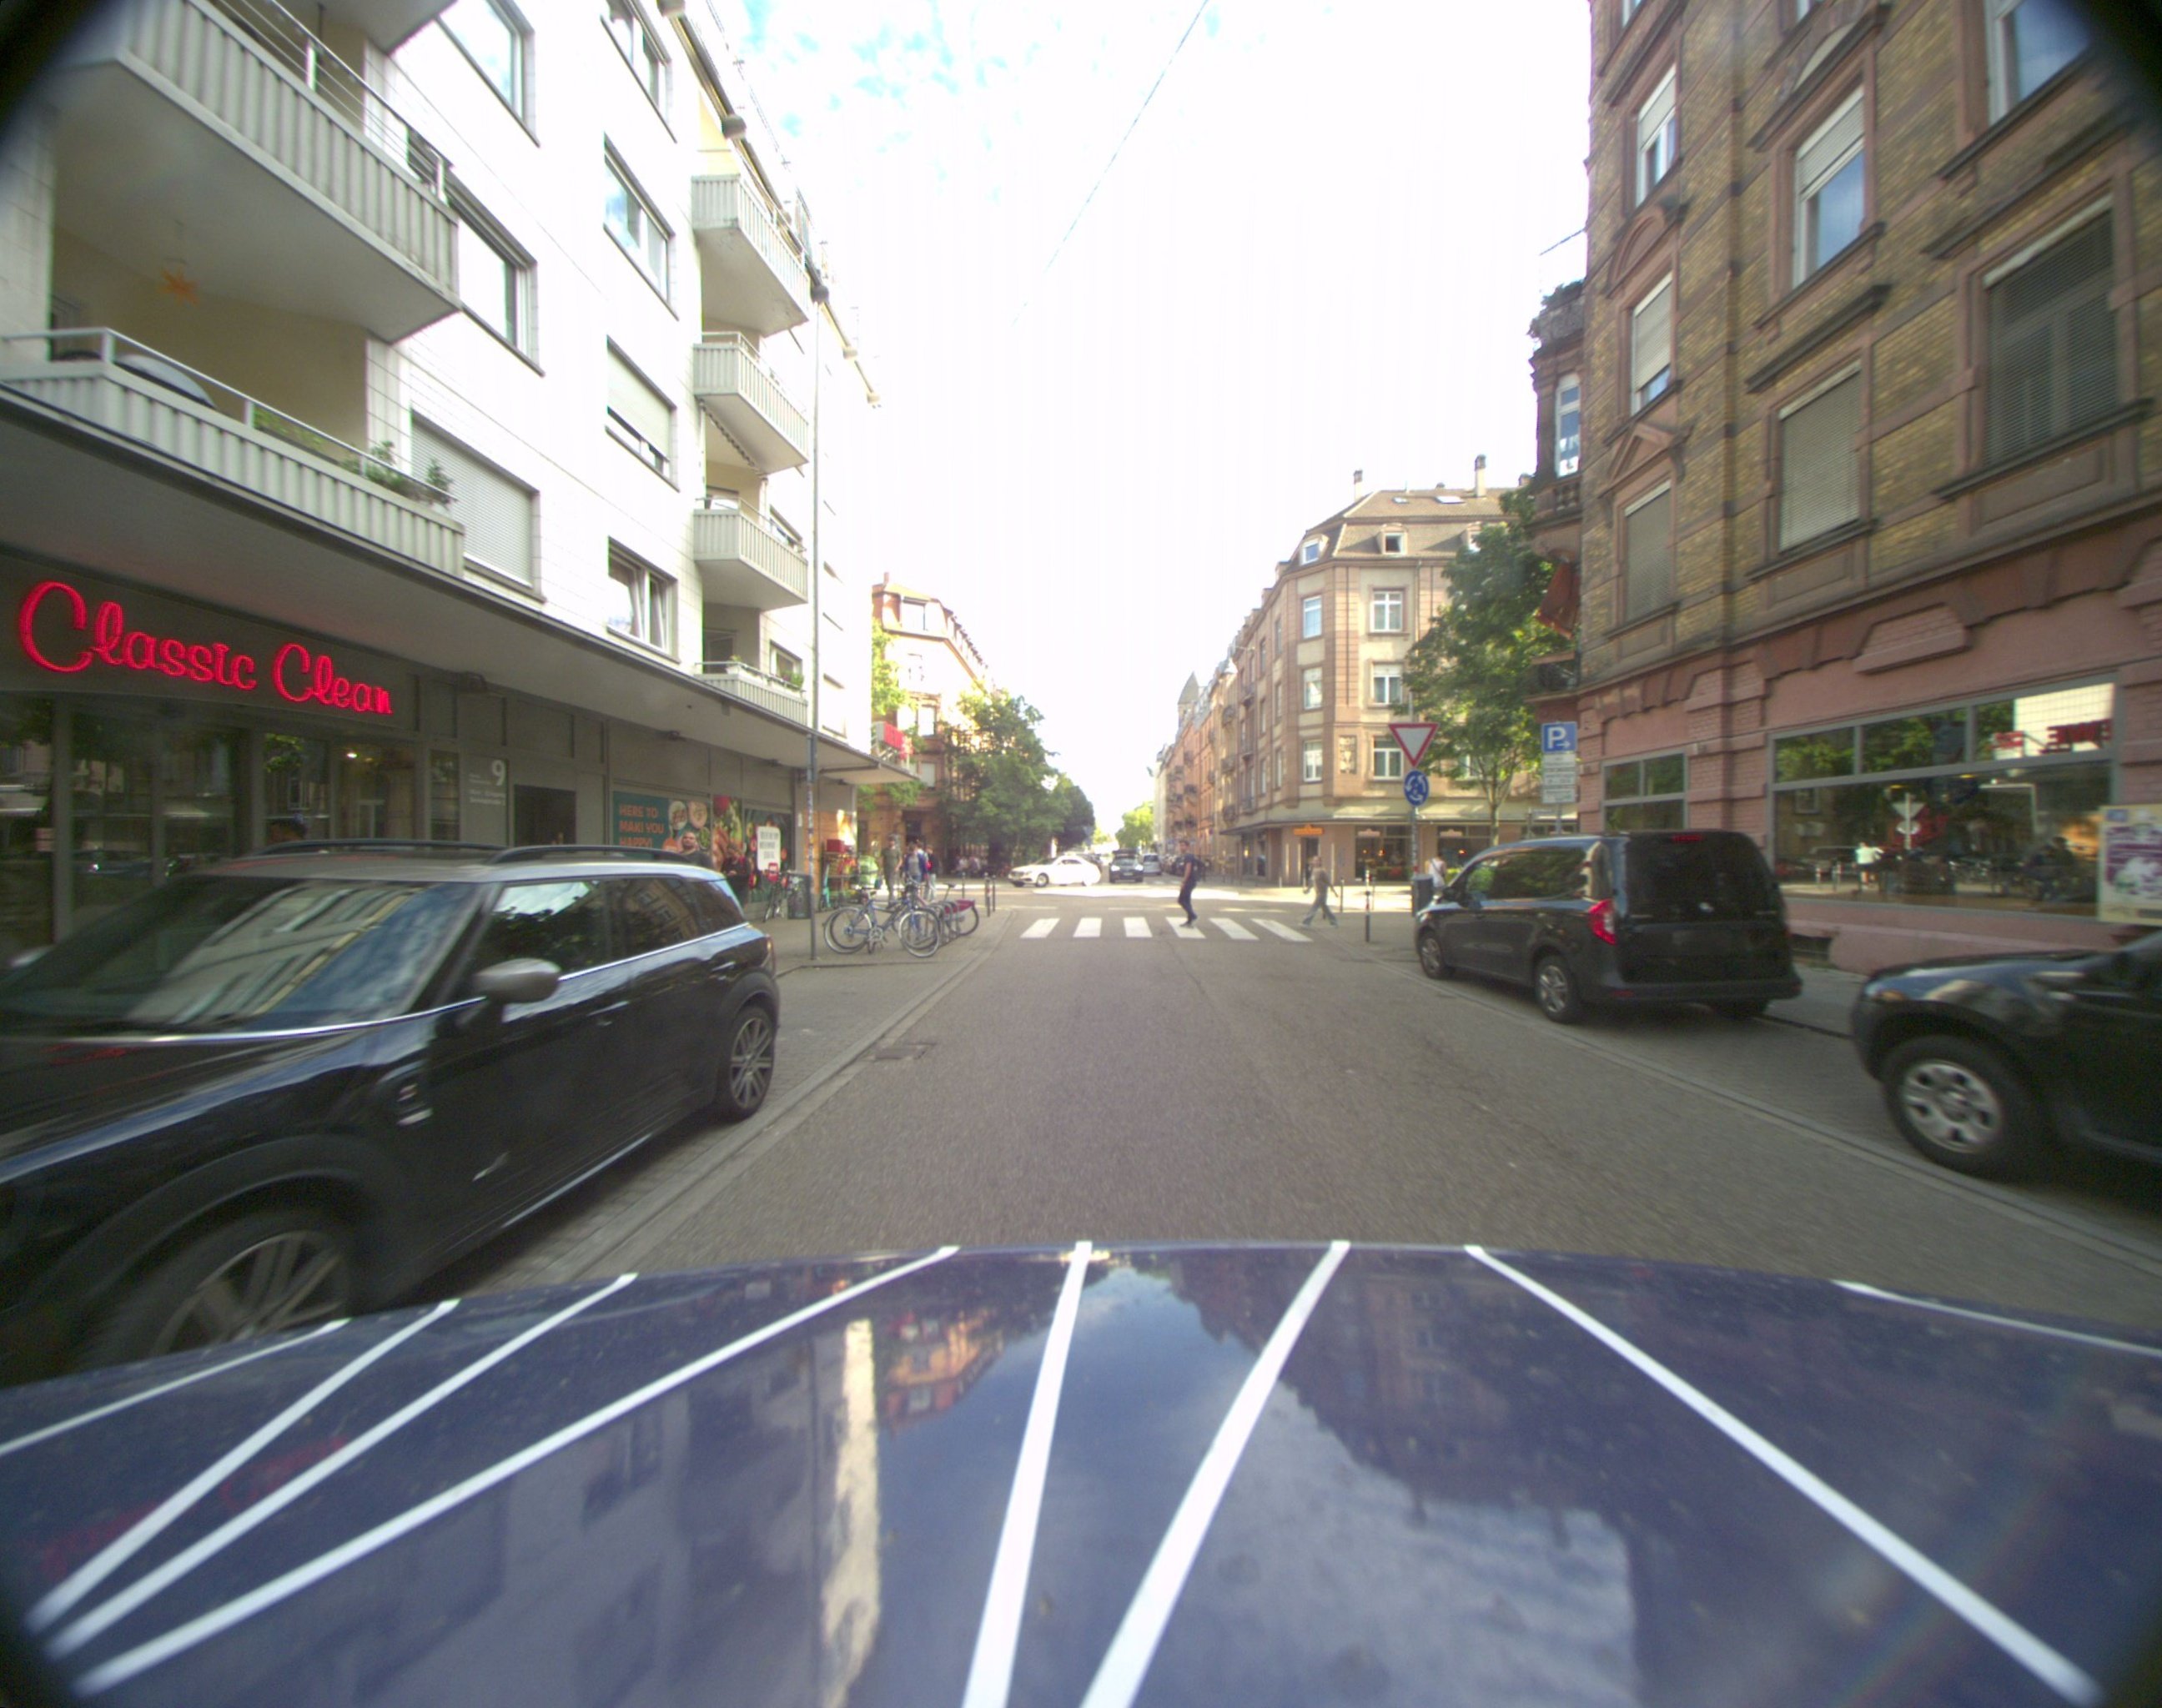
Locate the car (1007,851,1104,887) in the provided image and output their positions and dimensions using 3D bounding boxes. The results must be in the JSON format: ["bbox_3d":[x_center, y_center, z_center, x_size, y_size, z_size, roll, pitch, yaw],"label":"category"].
[{"bbox_3d":[-1.133,0.680,36.458,1.939,1.588,4.847,0,0,39],"label":"car"}]

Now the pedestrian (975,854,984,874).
[{"bbox_3d":[-6.696,0.673,50.176,0.467,1.320,0.620,0,1,-22],"label":"pedestrian"}]

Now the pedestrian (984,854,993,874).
[{"bbox_3d":[-6.068,0.660,49.836,0.467,1.320,0.620,0,1,-22],"label":"pedestrian"}]

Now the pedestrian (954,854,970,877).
[{"bbox_3d":[-7.352,0.712,46.872,0.715,1.371,0.671,1,2,37],"label":"pedestrian"}]

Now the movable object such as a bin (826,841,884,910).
[{"bbox_3d":[-6.076,0.544,20.590,0.781,1.734,2.423,0,0,2],"label":"movable object such as a bin"}]

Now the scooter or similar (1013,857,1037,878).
[{"bbox_3d":[-3.319,0.794,45.317,1.289,1.203,0.557,-1,-3,26],"label":"scooter or similar"}]

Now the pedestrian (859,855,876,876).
[{"bbox_3d":[-13.586,0.712,48.347,0.628,1.278,0.770,0,2,25],"label":"pedestrian"}]

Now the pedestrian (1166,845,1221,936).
[{"bbox_3d":[2.311,0.737,15.684,0.858,1.830,0.677,1,1,-22],"label":"pedestrian"}]

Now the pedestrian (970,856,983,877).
[{"bbox_3d":[-6.446,0.779,46.891,0.729,1.307,0.520,-1,0,-10],"label":"pedestrian"}]

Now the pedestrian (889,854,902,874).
[{"bbox_3d":[-11.699,0.639,47.878,0.510,1.218,0.643,3,3,35],"label":"pedestrian"}]

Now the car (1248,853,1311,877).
[{"bbox_3d":[14.586,0.804,55.993,3.999,1.611,1.999,-1,0,-6],"label":"car"}]

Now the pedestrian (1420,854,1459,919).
[{"bbox_3d":[9.600,0.850,20.341,0.802,1.661,1.024,1,2,32],"label":"pedestrian"}]

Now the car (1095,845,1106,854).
[{"bbox_3d":[4.101,-0.967,160.008,1.998,1.877,4.001,-1,0,4],"label":"car"}]

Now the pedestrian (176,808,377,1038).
[{"bbox_3d":[-6.552,0.534,6.239,0.715,1.736,0.817,3,0,0],"label":"pedestrian"}]

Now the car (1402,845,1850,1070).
[{"bbox_3d":[5.259,0.840,8.240,1.764,1.763,4.406,-1,0,2],"label":"car"}]

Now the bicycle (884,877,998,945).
[{"bbox_3d":[-2.553,1.031,14.041,1.887,1.119,0.907,3,0,0],"label":"bicycle"}]

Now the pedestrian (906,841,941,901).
[{"bbox_3d":[-4.828,0.511,23.241,0.712,1.786,0.634,3,-1,35],"label":"pedestrian"}]

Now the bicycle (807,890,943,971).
[{"bbox_3d":[-2.936,1.095,10.975,1.794,1.064,0.586,2,0,-8],"label":"bicycle"}]

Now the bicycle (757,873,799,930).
[{"bbox_3d":[-6.297,0.955,15.856,0.679,1.037,1.731,0,1,-17],"label":"bicycle"}]

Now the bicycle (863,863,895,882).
[{"bbox_3d":[-10.936,0.993,41.177,0.447,0.981,1.716,2,3,40],"label":"bicycle"}]

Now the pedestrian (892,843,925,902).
[{"bbox_3d":[-5.396,0.587,23.777,0.654,1.786,0.660,3,0,15],"label":"pedestrian"}]

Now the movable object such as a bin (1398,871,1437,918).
[{"bbox_3d":[5.320,0.630,12.027,0.384,0.710,0.476,-1,0,-2],"label":"movable object such as a bin"}]

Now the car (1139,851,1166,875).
[{"bbox_3d":[5.839,0.761,62.142,1.833,1.780,4.332,-2,-1,1],"label":"car"}]

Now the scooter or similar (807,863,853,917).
[{"bbox_3d":[-5.890,0.825,17.894,0.633,1.206,1.256,2,0,0],"label":"scooter or similar"}]

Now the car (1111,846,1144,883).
[{"bbox_3d":[2.783,0.590,44.509,1.792,2.051,4.001,0,0,5],"label":"car"}]

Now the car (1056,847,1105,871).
[{"bbox_3d":[0.007,0.536,79.761,4.746,2.408,1.995,-1,0,-30],"label":"car"}]

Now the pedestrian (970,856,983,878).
[{"bbox_3d":[-6.402,0.775,46.375,0.729,1.307,0.520,-1,0,-10],"label":"pedestrian"}]

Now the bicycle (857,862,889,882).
[{"bbox_3d":[-11.322,0.986,41.390,0.447,0.981,1.716,2,3,40],"label":"bicycle"}]

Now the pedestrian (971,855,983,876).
[{"bbox_3d":[-6.505,0.728,47.532,0.729,1.307,0.607,-1,0,-10],"label":"pedestrian"}]

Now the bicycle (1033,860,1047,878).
[{"bbox_3d":[-2.632,0.941,48.383,0.434,1.094,1.672,2,0,-18],"label":"bicycle"}]

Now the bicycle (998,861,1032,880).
[{"bbox_3d":[-3.764,0.930,43.446,1.855,1.029,0.684,1,1,2],"label":"bicycle"}]

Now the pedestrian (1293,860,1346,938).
[{"bbox_3d":[5.026,0.938,16.054,0.810,1.569,0.614,-3,0,-11],"label":"pedestrian"}]

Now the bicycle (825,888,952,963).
[{"bbox_3d":[-2.920,1.087,11.657,1.794,1.064,0.568,2,0,-8],"label":"bicycle"}]

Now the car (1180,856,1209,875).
[{"bbox_3d":[8.449,0.851,56.751,1.723,1.360,3.830,-1,0,3],"label":"car"}]

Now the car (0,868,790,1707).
[{"bbox_3d":[-2.852,0.891,2.954,1.796,1.596,3.925,1,0,2],"label":"car"}]

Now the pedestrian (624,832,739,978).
[{"bbox_3d":[-5.116,0.626,9.799,0.851,1.736,1.049,3,0,0],"label":"pedestrian"}]

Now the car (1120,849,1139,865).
[{"bbox_3d":[5.134,0.289,80.129,1.998,1.624,4.845,0,0,4],"label":"car"}]

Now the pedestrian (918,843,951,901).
[{"bbox_3d":[-4.596,0.557,23.823,0.716,1.786,0.630,4,-1,-33],"label":"pedestrian"}]

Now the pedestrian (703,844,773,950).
[{"bbox_3d":[-5.490,0.677,12.189,0.724,1.623,0.712,3,0,0],"label":"pedestrian"}]

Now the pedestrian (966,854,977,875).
[{"bbox_3d":[-7.094,0.665,49.114,0.549,1.293,0.620,0,1,-22],"label":"pedestrian"}]

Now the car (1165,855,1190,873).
[{"bbox_3d":[8.471,0.850,67.024,1.761,1.488,4.133,-1,0,1],"label":"car"}]

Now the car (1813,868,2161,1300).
[{"bbox_3d":[5.145,0.891,2.262,1.998,1.628,4.146,-1,0,2],"label":"car"}]

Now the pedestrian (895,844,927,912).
[{"bbox_3d":[-4.470,0.625,20.026,0.765,1.743,0.930,0,0,-9],"label":"pedestrian"}]

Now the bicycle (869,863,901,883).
[{"bbox_3d":[-10.552,1.002,40.932,0.447,0.964,1.716,2,3,40],"label":"bicycle"}]

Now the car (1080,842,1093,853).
[{"bbox_3d":[0.918,-1.039,124.698,1.850,1.724,3.999,-1,0,-3],"label":"car"}]

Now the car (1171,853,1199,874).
[{"bbox_3d":[8.397,0.751,61.906,1.861,1.575,4.399,-1,0,3],"label":"car"}]
